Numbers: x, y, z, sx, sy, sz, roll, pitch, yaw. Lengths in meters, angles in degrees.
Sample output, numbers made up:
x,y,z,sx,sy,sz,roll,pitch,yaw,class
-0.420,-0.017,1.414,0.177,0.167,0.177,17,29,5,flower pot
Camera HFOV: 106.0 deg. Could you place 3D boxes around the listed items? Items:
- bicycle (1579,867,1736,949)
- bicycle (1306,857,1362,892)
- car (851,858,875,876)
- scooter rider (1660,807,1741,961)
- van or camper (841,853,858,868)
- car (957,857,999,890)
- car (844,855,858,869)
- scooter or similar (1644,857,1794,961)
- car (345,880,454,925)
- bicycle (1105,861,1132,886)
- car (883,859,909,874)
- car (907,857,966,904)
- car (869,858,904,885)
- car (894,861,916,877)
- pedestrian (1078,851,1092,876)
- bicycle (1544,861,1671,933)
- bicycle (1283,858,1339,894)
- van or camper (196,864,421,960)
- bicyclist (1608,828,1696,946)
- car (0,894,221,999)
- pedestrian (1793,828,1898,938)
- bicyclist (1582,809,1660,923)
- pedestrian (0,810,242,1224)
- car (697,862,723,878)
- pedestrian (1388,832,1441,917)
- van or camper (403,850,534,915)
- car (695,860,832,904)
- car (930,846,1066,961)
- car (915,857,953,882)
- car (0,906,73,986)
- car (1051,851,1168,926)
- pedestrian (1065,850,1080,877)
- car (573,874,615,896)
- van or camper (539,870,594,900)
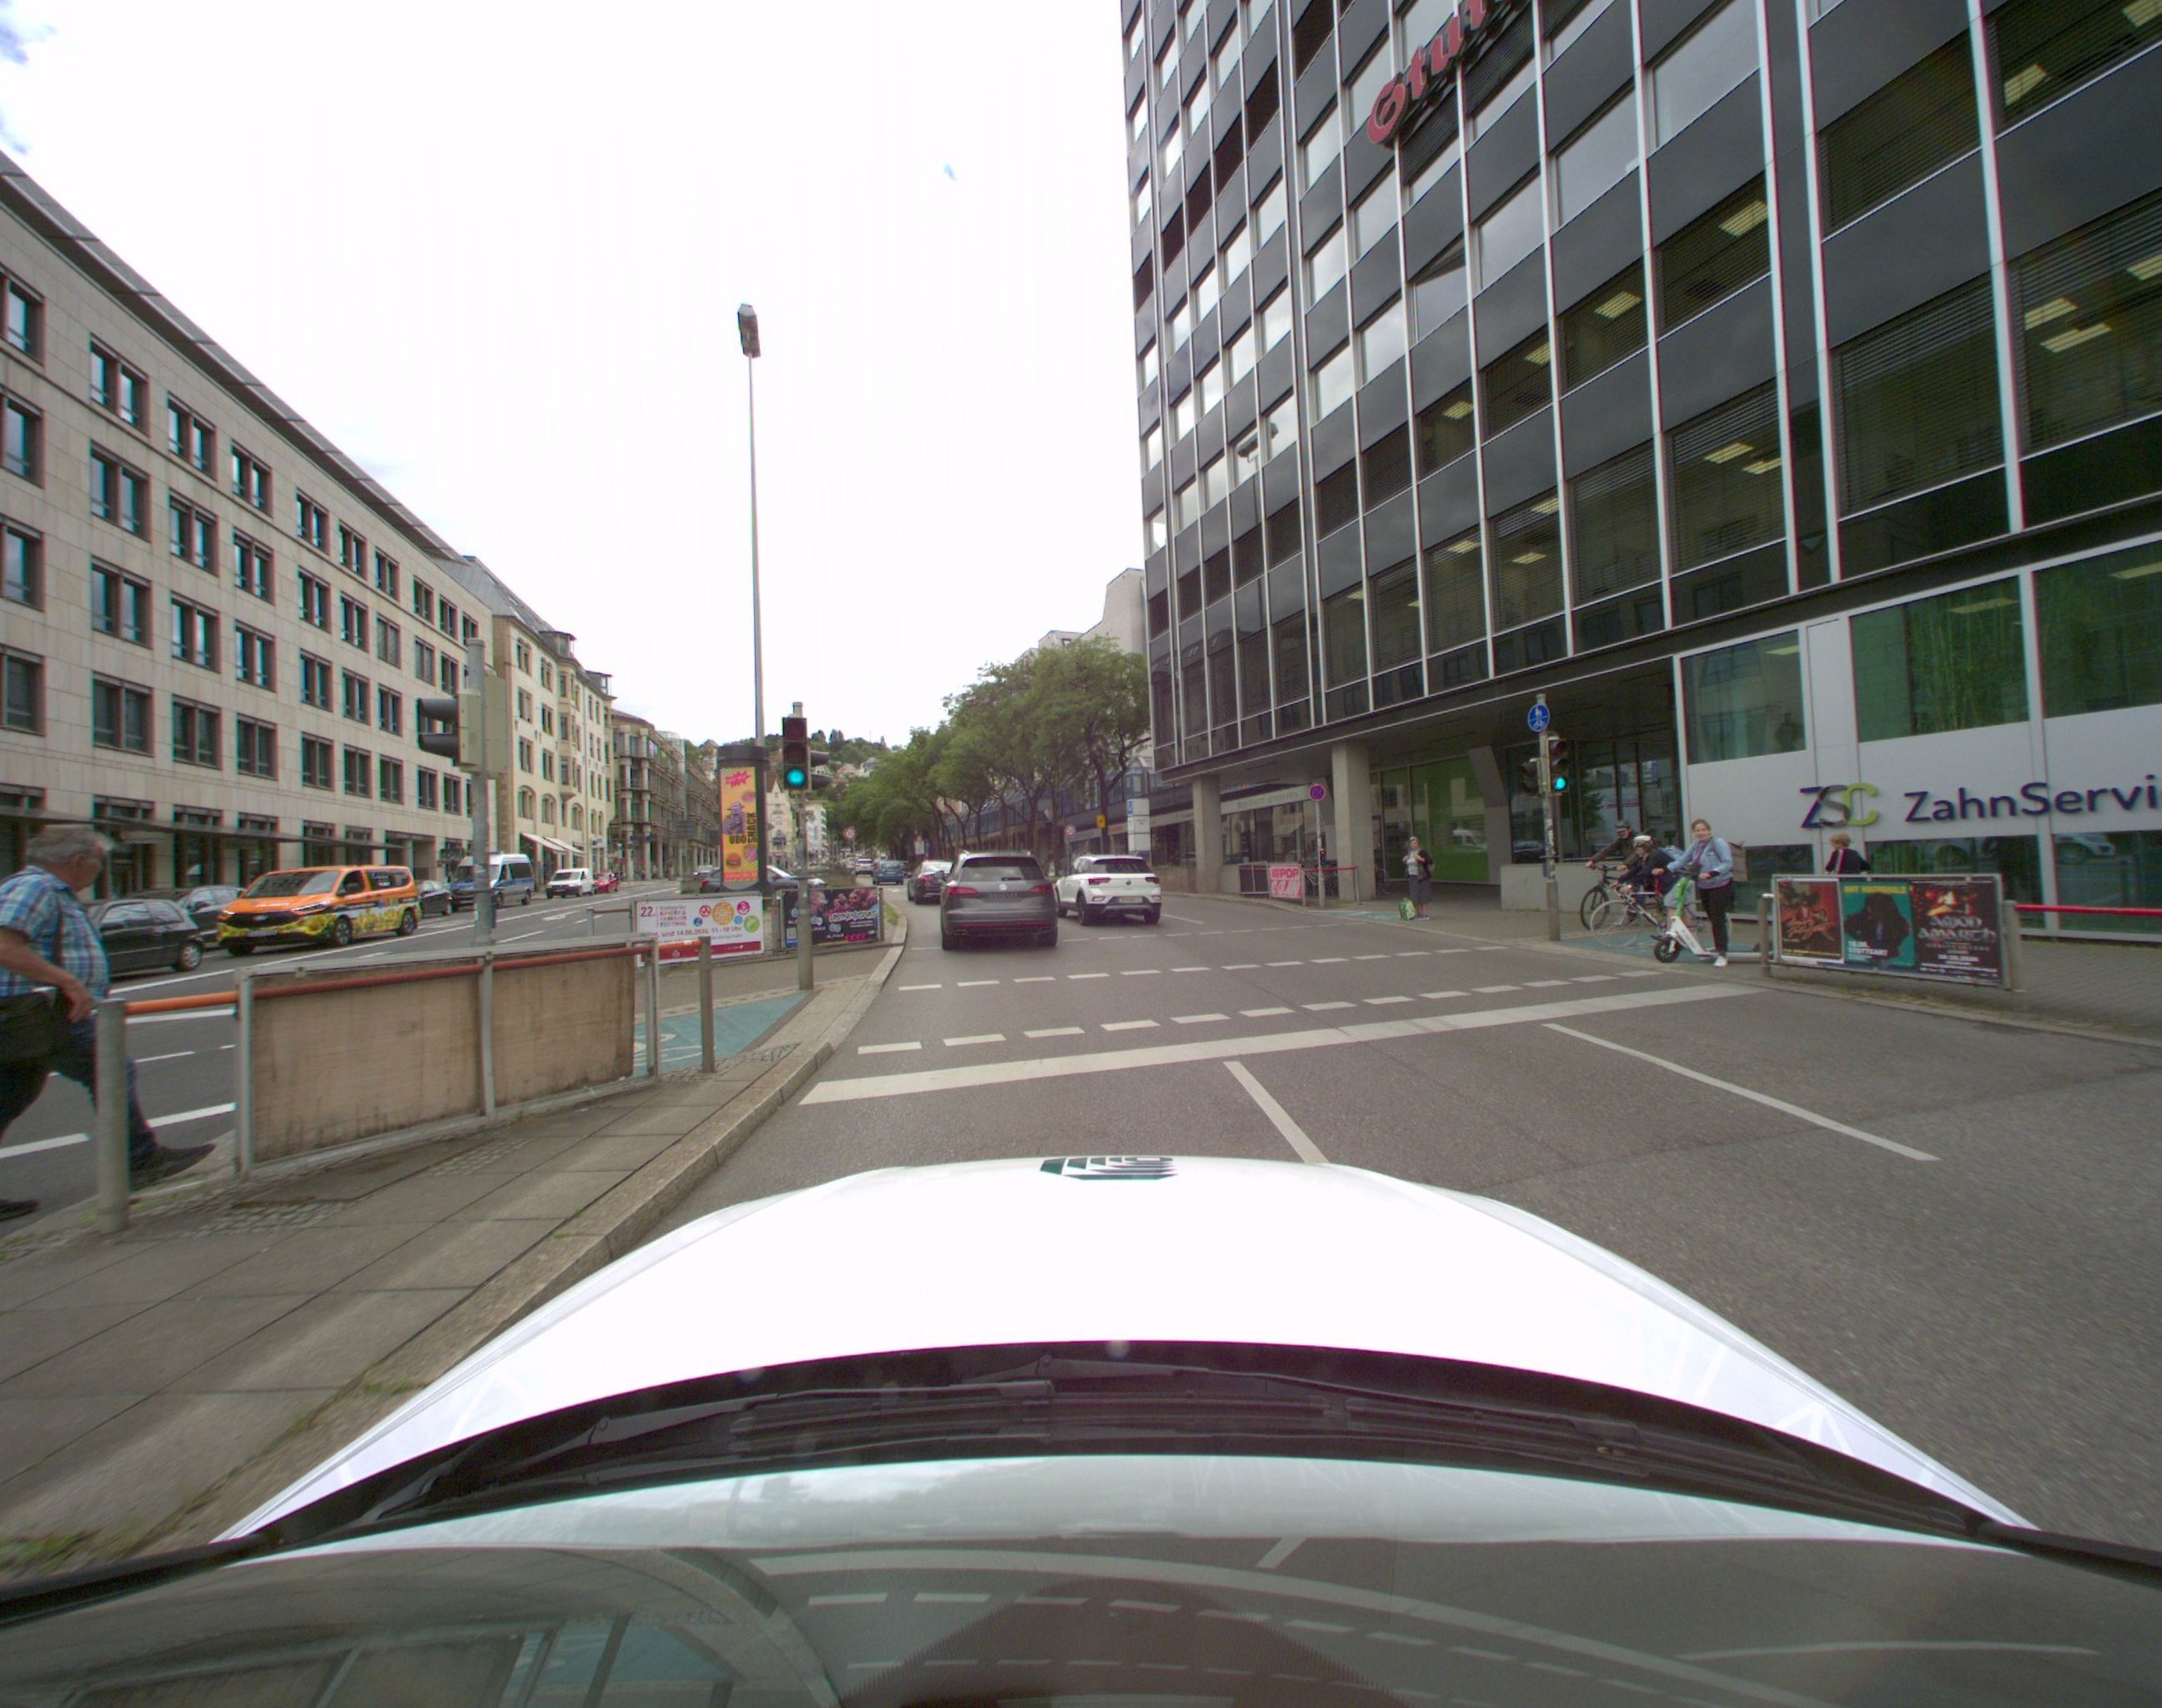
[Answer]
x,y,z,sx,sy,sz,roll,pitch,yaw,class
7.904,0.739,11.215,1.648,1.027,0.585,-4,-1,43,bicycle
7.763,0.628,25.003,0.718,1.048,1.469,-2,0,-39,bicycle
-20.261,1.197,75.631,1.837,1.567,3.744,-3,0,-18,car
7.552,0.361,9.956,0.635,1.809,0.597,-4,-1,30,scooter rider
-52.220,1.512,183.557,2.640,3.178,5.756,-2,0,-24,van or camper
-5.179,0.940,40.589,1.834,1.432,4.132,-1,1,-11,car
-32.708,1.205,115.709,1.836,1.874,4.843,-3,0,-16,car
7.689,0.668,9.884,1.306,1.176,0.597,-4,-1,30,scooter or similar
-26.335,1.818,31.630,1.774,1.448,4.005,-4,0,-18,car
1.797,0.932,38.987,0.492,1.132,1.872,-2,0,-24,bicycle
-19.865,1.356,87.376,2.063,1.418,4.304,-3,0,-20,car
-5.001,0.858,28.097,1.834,1.395,4.132,-1,1,-11,car
-12.126,1.064,50.660,1.837,1.517,3.744,-3,0,-17,car
-15.700,1.324,72.563,1.834,1.363,3.750,-3,0,-13,car
0.268,0.644,54.283,0.598,1.629,0.751,-3,0,-24,pedestrian
8.756,0.697,13.567,1.762,1.006,0.678,-4,2,-10,bicycle
6.977,0.674,24.738,0.718,1.048,1.469,-2,0,-39,bicycle
-18.624,1.267,20.022,1.918,1.921,5.052,-4,0,-18,van or camper
7.871,0.444,11.236,0.835,1.549,0.569,-4,-1,43,bicyclist
-16.833,1.493,13.723,1.560,1.379,3.612,-3,0,-17,car
10.661,0.388,11.374,0.606,1.443,0.832,-3,0,-22,pedestrian
9.010,0.192,13.604,0.812,1.846,0.672,-2,-1,-12,bicyclist
-4.800,0.723,3.908,0.717,1.790,0.630,-6,2,-18,pedestrian
-38.885,1.673,85.377,1.923,1.527,4.514,-2,0,-18,car
6.966,0.434,17.034,0.527,1.711,0.747,-3,-2,-23,pedestrian
-28.856,1.275,38.710,3.010,2.726,6.208,-2,0,-18,van or camper
-12.069,1.049,31.244,4.551,1.458,1.875,-2,0,-10,car
-1.686,0.787,15.062,1.972,1.695,4.207,-3,0,-12,car
-9.845,1.047,54.235,1.838,1.517,3.742,-3,0,-20,car
-19.776,1.701,13.795,1.560,1.341,3.612,-3,0,-17,car
0.549,0.729,19.168,1.799,1.545,3.918,1,0,-13,car
-0.570,0.630,53.984,0.598,1.754,0.933,-3,0,-23,pedestrian
-34.423,2.189,57.640,1.793,1.406,3.559,-2,0,-19,car
-32.399,1.917,51.414,1.874,1.751,4.458,-2,0,-19,van or camper
